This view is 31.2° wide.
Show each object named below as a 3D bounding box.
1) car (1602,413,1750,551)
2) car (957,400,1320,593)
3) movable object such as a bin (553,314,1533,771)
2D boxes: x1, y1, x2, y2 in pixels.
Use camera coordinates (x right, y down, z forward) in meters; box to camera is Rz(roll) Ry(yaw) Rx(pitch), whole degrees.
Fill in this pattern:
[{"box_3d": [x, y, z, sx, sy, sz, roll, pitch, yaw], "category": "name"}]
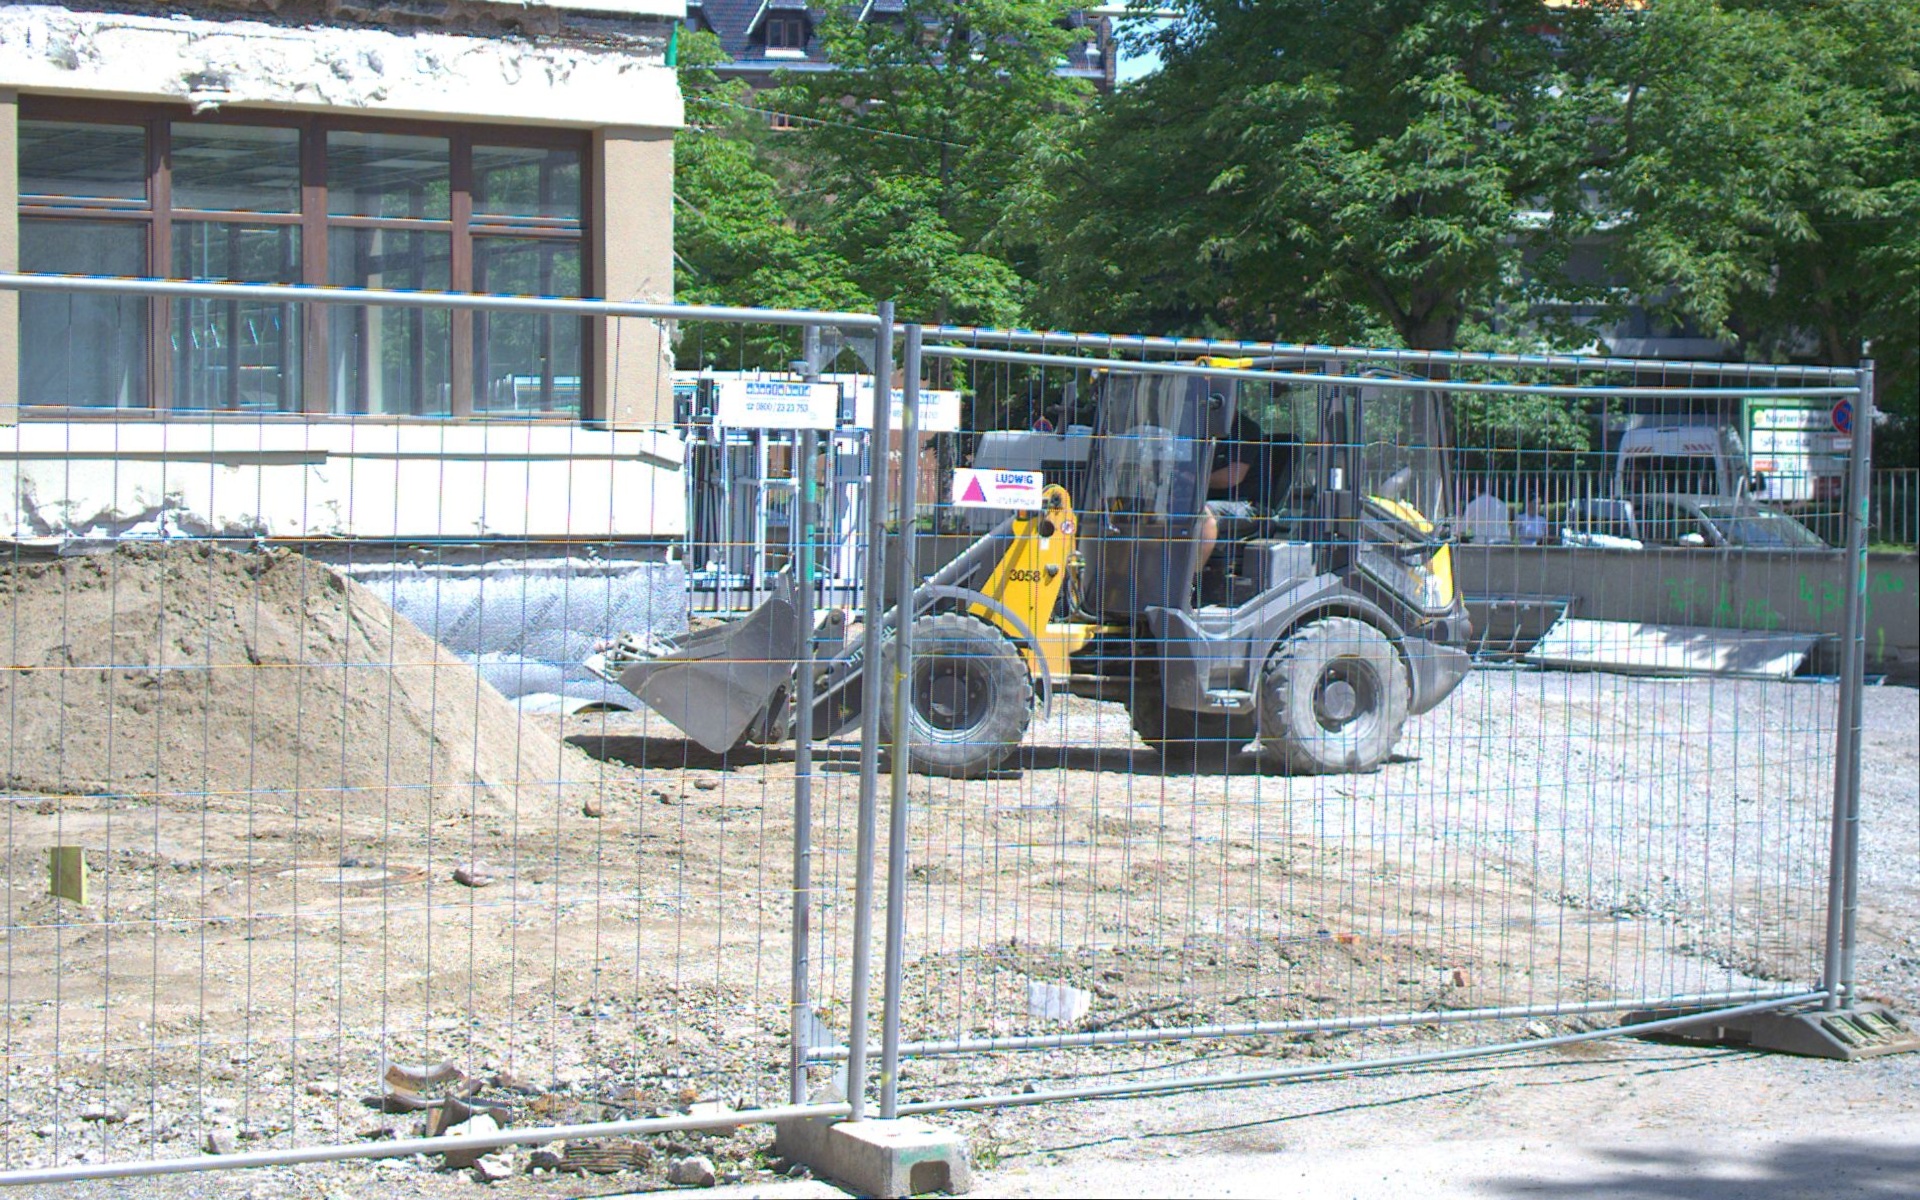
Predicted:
[{"box_3d": [12.260, -1.986, 58.640, 2.186, 2.250, 4.866, 0, 2, 15], "category": "car"}, {"box_3d": [2.282, -1.361, 45.569, 1.994, 2.408, 5.243, -1, 2, -35], "category": "car"}, {"box_3d": [0.402, -0.332, 20.569, 5.401, 2.455, 2.369, 1, 2, -12], "category": "movable object such as a bin"}]
